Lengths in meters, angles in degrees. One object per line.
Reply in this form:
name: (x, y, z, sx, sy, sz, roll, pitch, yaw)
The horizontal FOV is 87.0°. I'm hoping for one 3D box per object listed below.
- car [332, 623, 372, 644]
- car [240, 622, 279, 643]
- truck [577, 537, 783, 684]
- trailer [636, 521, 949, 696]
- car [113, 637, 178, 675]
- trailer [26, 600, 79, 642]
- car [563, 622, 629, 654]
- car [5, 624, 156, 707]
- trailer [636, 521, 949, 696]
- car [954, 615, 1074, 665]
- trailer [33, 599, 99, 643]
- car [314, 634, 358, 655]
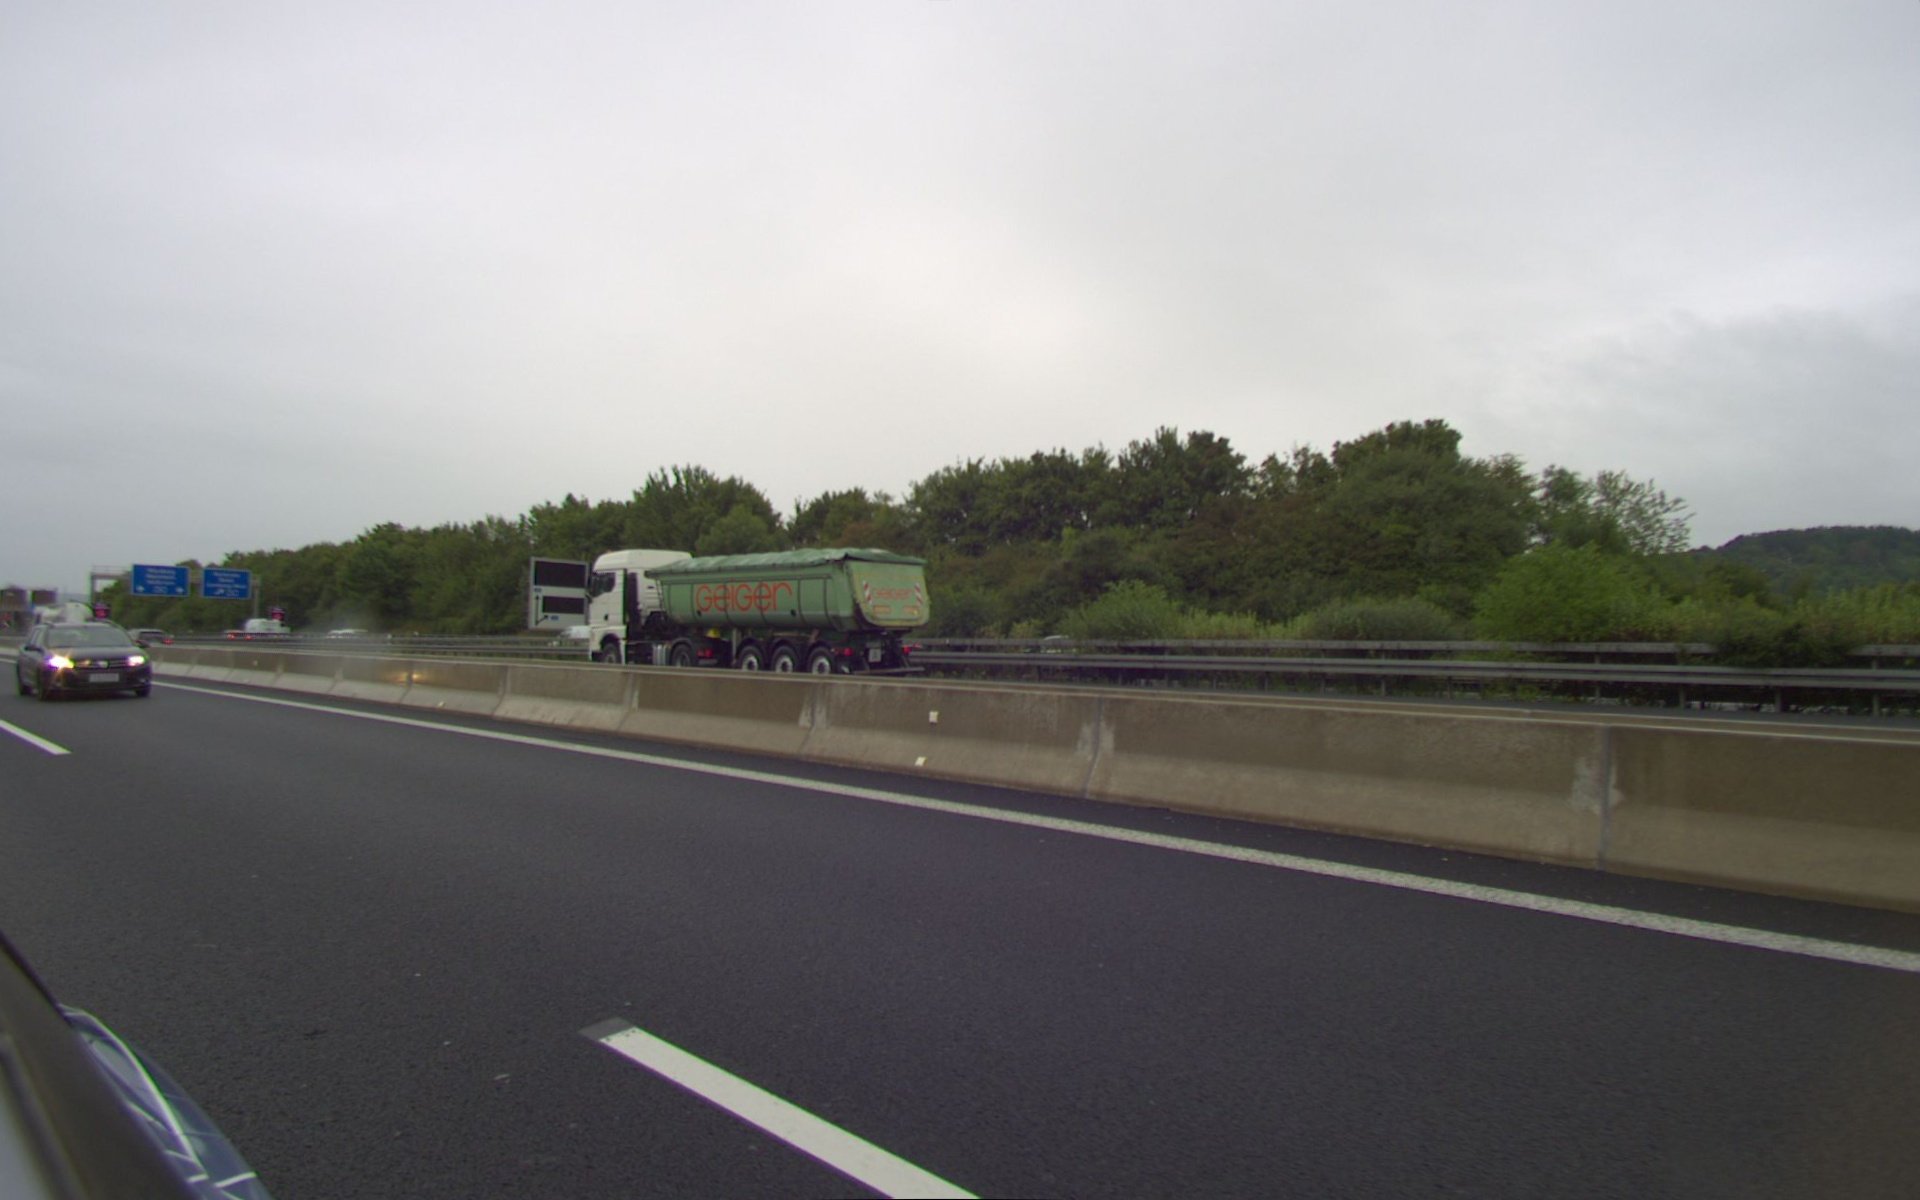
car: (-53.561, 2.912, 89.090, 3.994, 1.783, 1.688, -1, -2, 38)
car: (-69.433, 3.236, 100.267, 5.295, 2.029, 1.854, -1, -2, 41)
truck: (-8.098, 0.323, 28.993, 5.941, 3.777, 2.857, -1, -2, 40)
trailer: (-4.573, 0.262, 25.955, 8.922, 3.777, 2.873, -1, -2, 41)
car: (-43.498, 2.939, 54.026, 4.539, 1.890, 1.876, -1, -2, 41)
trailer: (-84.946, 1.964, 94.731, 6.484, 3.744, 2.611, -1, -2, 39)
car: (-21.338, 2.232, 59.201, 4.411, 1.800, 1.781, -2, -3, 42)
car: (-17.910, 1.242, 20.530, 4.565, 1.501, 1.703, -1, -2, 41)
trailer: (-4.573, 0.262, 25.955, 8.922, 3.777, 2.873, -1, -2, 41)
car: (1.997, 1.496, 38.388, 4.411, 1.800, 1.781, -2, -3, 42)
trailer: (-80.968, 1.901, 91.558, 10.797, 3.765, 2.611, -1, -2, 38)
car: (-47.931, 3.366, 77.728, 3.997, 1.519, 1.686, -1, -2, 41)
